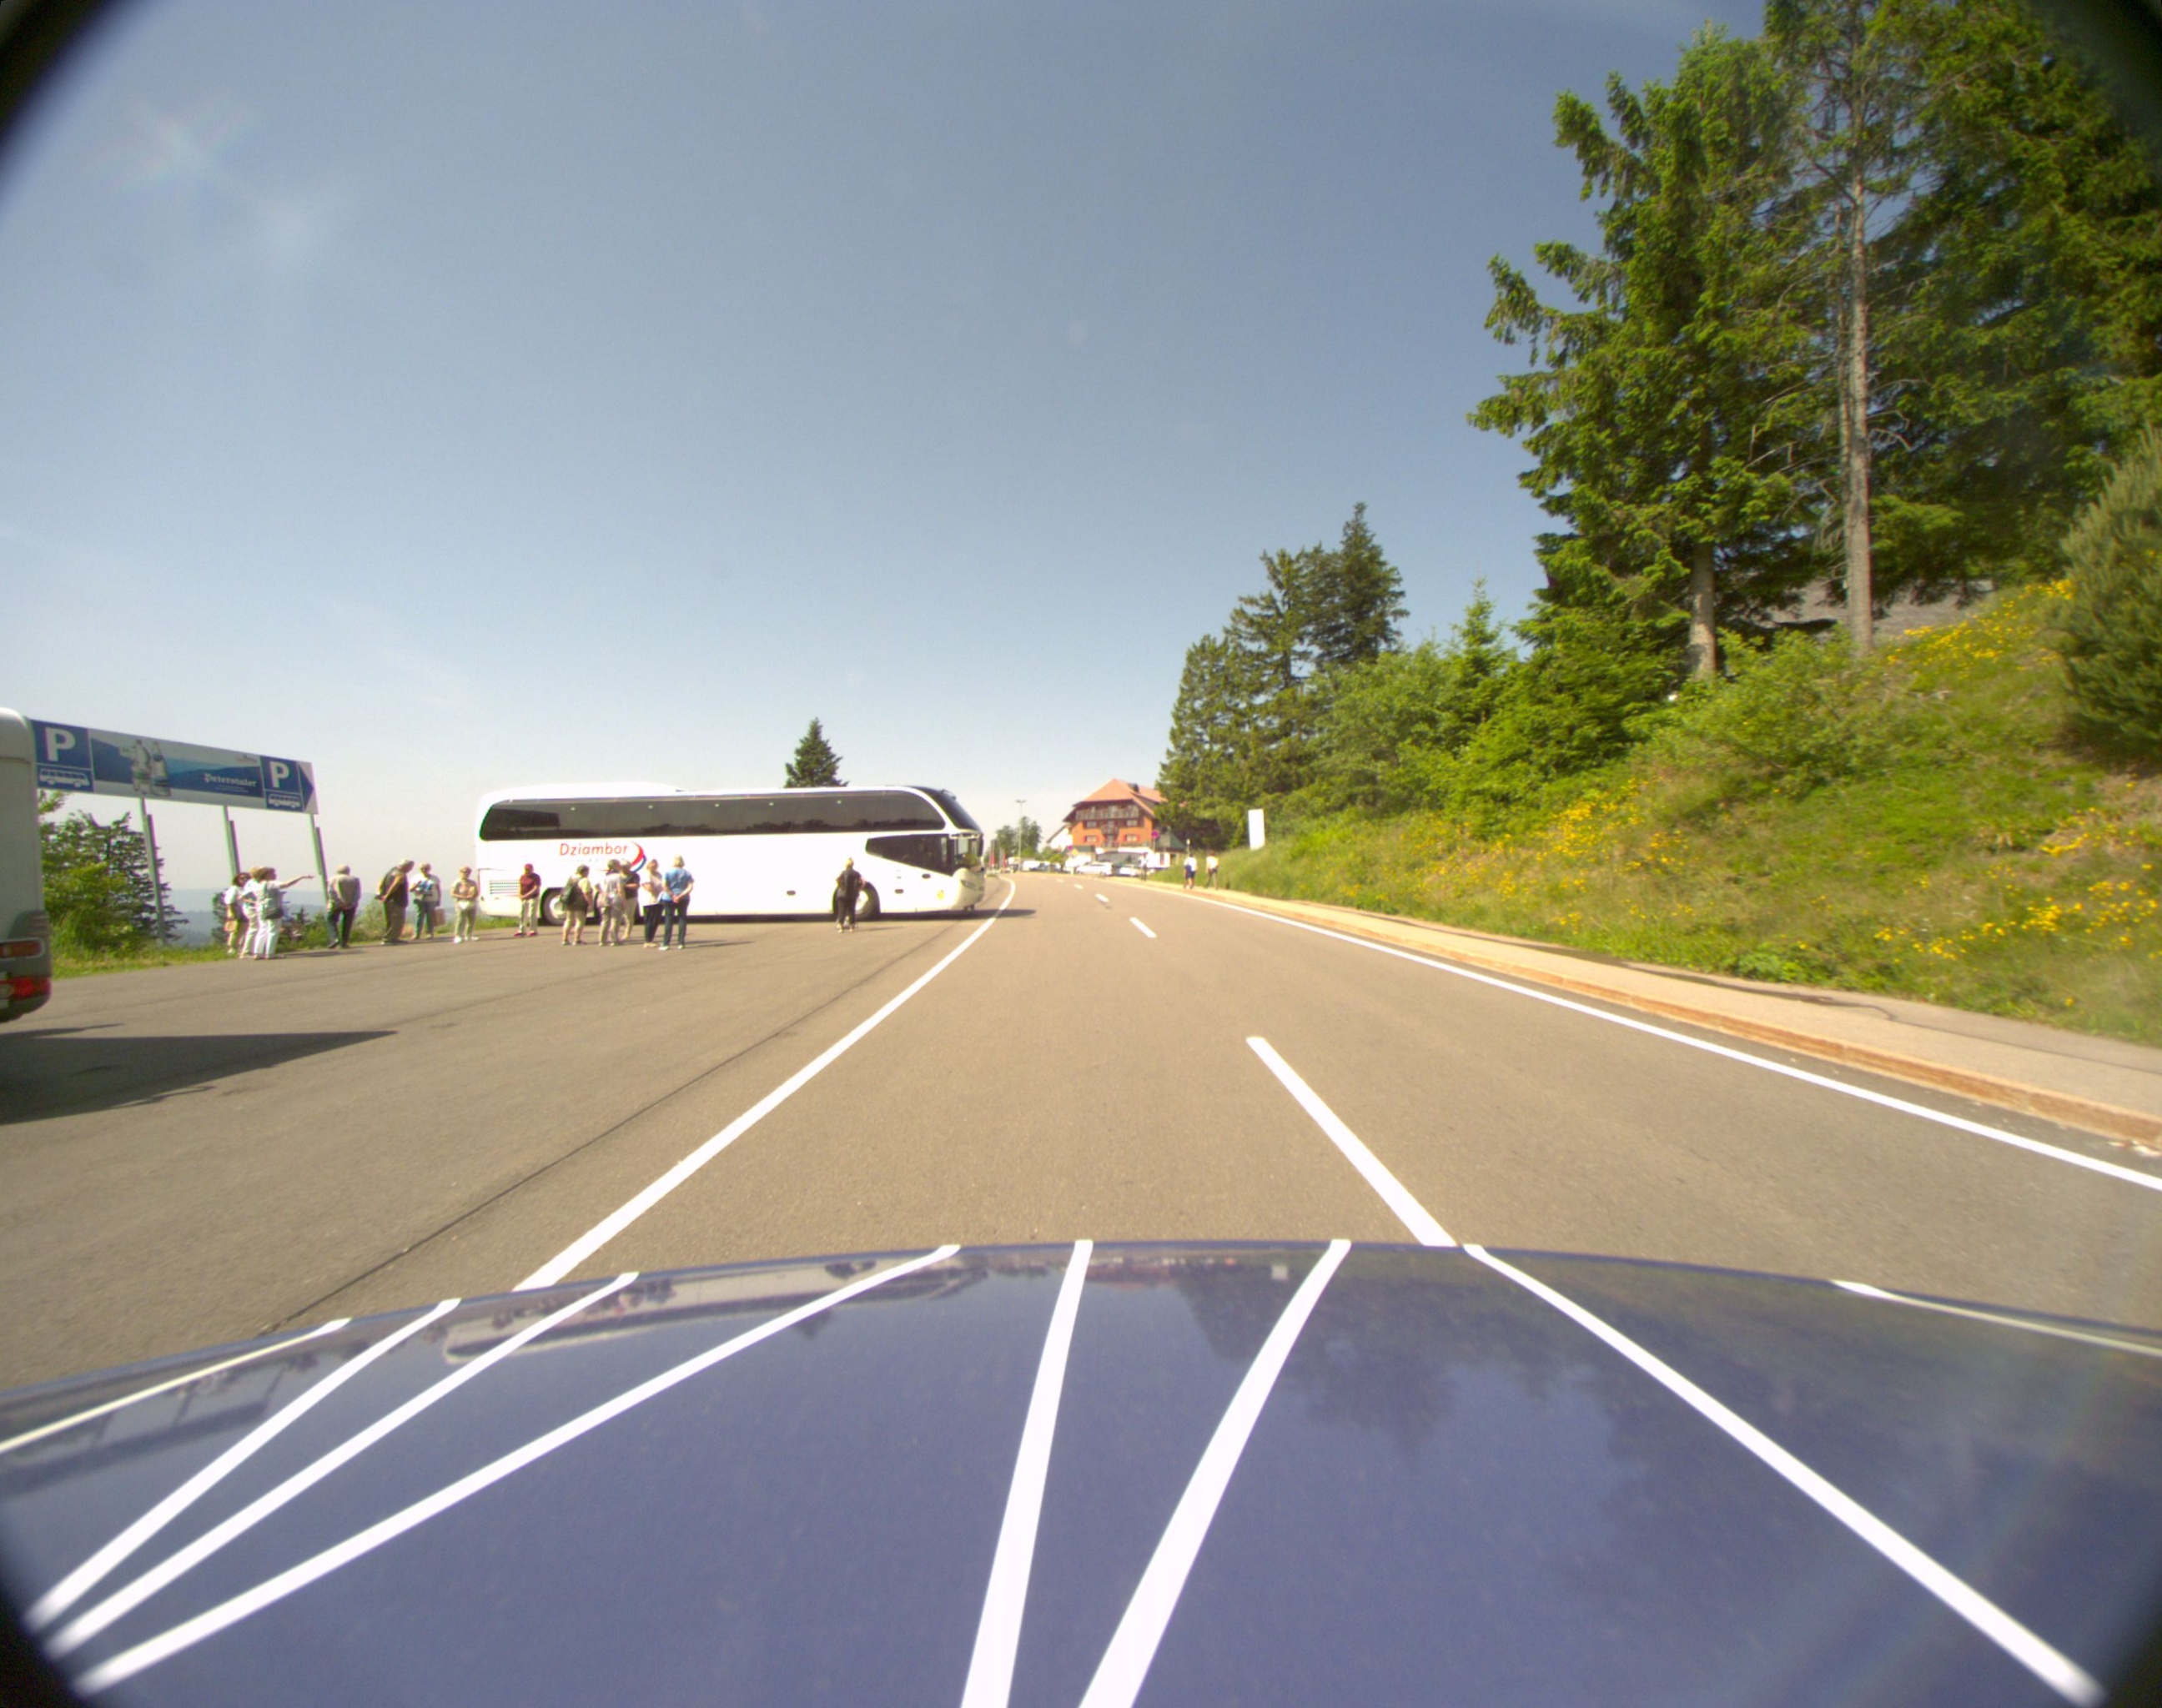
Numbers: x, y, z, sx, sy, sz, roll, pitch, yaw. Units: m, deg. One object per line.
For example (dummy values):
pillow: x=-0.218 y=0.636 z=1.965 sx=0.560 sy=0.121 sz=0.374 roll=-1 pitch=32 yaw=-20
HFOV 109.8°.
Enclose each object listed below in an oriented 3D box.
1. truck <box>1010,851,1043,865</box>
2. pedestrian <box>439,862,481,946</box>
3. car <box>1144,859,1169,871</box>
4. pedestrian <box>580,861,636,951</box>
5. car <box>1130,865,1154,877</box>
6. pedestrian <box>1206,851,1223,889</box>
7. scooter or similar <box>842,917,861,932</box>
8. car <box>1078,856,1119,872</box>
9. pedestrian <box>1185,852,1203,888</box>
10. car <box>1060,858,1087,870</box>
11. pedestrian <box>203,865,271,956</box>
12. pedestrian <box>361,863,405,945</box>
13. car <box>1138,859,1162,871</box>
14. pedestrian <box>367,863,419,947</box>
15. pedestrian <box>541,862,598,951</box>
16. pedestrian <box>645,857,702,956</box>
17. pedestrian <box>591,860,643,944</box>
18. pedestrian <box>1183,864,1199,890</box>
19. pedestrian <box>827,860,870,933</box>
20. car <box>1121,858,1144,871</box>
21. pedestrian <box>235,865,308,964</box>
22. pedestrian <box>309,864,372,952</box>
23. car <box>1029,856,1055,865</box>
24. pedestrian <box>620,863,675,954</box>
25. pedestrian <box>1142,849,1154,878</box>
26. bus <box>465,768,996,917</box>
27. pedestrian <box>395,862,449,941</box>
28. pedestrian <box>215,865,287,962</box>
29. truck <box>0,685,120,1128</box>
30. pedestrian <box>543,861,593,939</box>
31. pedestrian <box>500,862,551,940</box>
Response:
truck: x=-11.342 y=0.809 z=159.021 sx=2.863 sy=2.813 sz=8.776 roll=0 pitch=0 yaw=24
pedestrian: x=-13.002 y=1.026 z=15.908 sx=0.633 sy=1.687 sz=0.626 roll=-1 pitch=1 yaw=-40
car: x=8.913 y=1.266 z=89.378 sx=1.714 sy=1.425 sz=3.322 roll=0 pitch=0 yaw=29
pedestrian: x=-9.069 y=0.977 z=14.583 sx=0.631 sy=1.688 sz=0.629 roll=0 pitch=1 yaw=15
car: x=7.700 y=2.090 z=95.839 sx=1.727 sy=1.456 sz=3.527 roll=0 pitch=0 yaw=28
pedestrian: x=5.926 y=0.707 z=33.666 sx=0.577 sy=1.633 sz=0.894 roll=0 pitch=0 yaw=-2
scooter or similar: x=-5.205 y=1.597 z=17.264 sx=0.285 sy=0.309 sz=0.327 roll=0 pitch=0 yaw=11
car: x=1.802 y=1.043 z=80.416 sx=3.953 sy=1.578 sz=1.793 roll=0 pitch=0 yaw=28
pedestrian: x=4.987 y=0.700 z=33.519 sx=0.582 sy=1.528 sz=0.879 roll=0 pitch=0 yaw=-5
car: x=-1.044 y=1.309 z=103.584 sx=3.325 sy=1.583 sz=1.720 roll=0 pitch=0 yaw=35
pedestrian: x=-16.109 y=1.056 z=14.509 sx=0.631 sy=1.687 sz=0.629 roll=0 pitch=1 yaw=15
pedestrian: x=-14.724 y=1.041 z=16.031 sx=0.467 sy=1.687 sz=0.485 roll=0 pitch=1 yaw=15
car: x=8.402 y=1.384 z=92.261 sx=1.636 sy=1.425 sz=3.323 roll=0 pitch=-1 yaw=29
pedestrian: x=-14.130 y=1.036 z=15.613 sx=0.631 sy=1.687 sz=0.509 roll=0 pitch=1 yaw=15
pedestrian: x=-9.899 y=1.001 z=14.728 sx=0.631 sy=1.687 sz=0.629 roll=0 pitch=1 yaw=15
pedestrian: x=-7.405 y=0.937 z=13.812 sx=0.631 sy=1.747 sz=0.629 roll=0 pitch=1 yaw=15
pedestrian: x=-9.580 y=0.974 z=15.690 sx=0.631 sy=1.669 sz=0.629 roll=0 pitch=1 yaw=15
pedestrian: x=4.658 y=0.965 z=32.272 sx=0.570 sy=1.095 sz=0.744 roll=0 pitch=0 yaw=-2
pedestrian: x=-5.020 y=0.905 z=16.452 sx=0.631 sy=1.558 sz=0.629 roll=0 pitch=1 yaw=15
car: x=6.682 y=1.362 z=98.721 sx=1.710 sy=1.543 sz=3.141 roll=0 pitch=0 yaw=31
pedestrian: x=-14.303 y=1.042 z=13.436 sx=0.631 sy=1.687 sz=0.629 roll=0 pitch=1 yaw=15
pedestrian: x=-14.523 y=1.041 z=14.917 sx=0.631 sy=1.687 sz=0.629 roll=0 pitch=1 yaw=15
car: x=-7.780 y=1.316 z=151.840 sx=5.253 sy=1.894 sz=1.999 roll=0 pitch=0 yaw=-4
pedestrian: x=-8.113 y=0.999 z=14.226 sx=0.630 sy=1.641 sz=0.629 roll=0 pitch=1 yaw=26
pedestrian: x=4.044 y=0.579 z=45.812 sx=0.581 sy=1.731 sz=0.686 roll=0 pitch=0 yaw=-11
bus: x=-8.909 y=-0.257 z=20.172 sx=12.875 sy=3.556 sz=2.839 roll=0 pitch=0 yaw=3
pedestrian: x=-14.527 y=1.037 z=16.767 sx=0.631 sy=1.687 sz=0.629 roll=0 pitch=1 yaw=15
pedestrian: x=-14.930 y=1.048 z=13.680 sx=0.631 sy=1.687 sz=0.629 roll=0 pitch=1 yaw=15
truck: x=-10.804 y=0.405 z=4.817 sx=6.079 sy=3.177 sz=2.532 roll=-1 pitch=1 yaw=0
pedestrian: x=-11.457 y=1.010 z=16.982 sx=0.631 sy=1.687 sz=0.629 roll=0 pitch=1 yaw=15
pedestrian: x=-12.325 y=1.018 z=16.861 sx=0.631 sy=1.687 sz=0.629 roll=0 pitch=1 yaw=15
